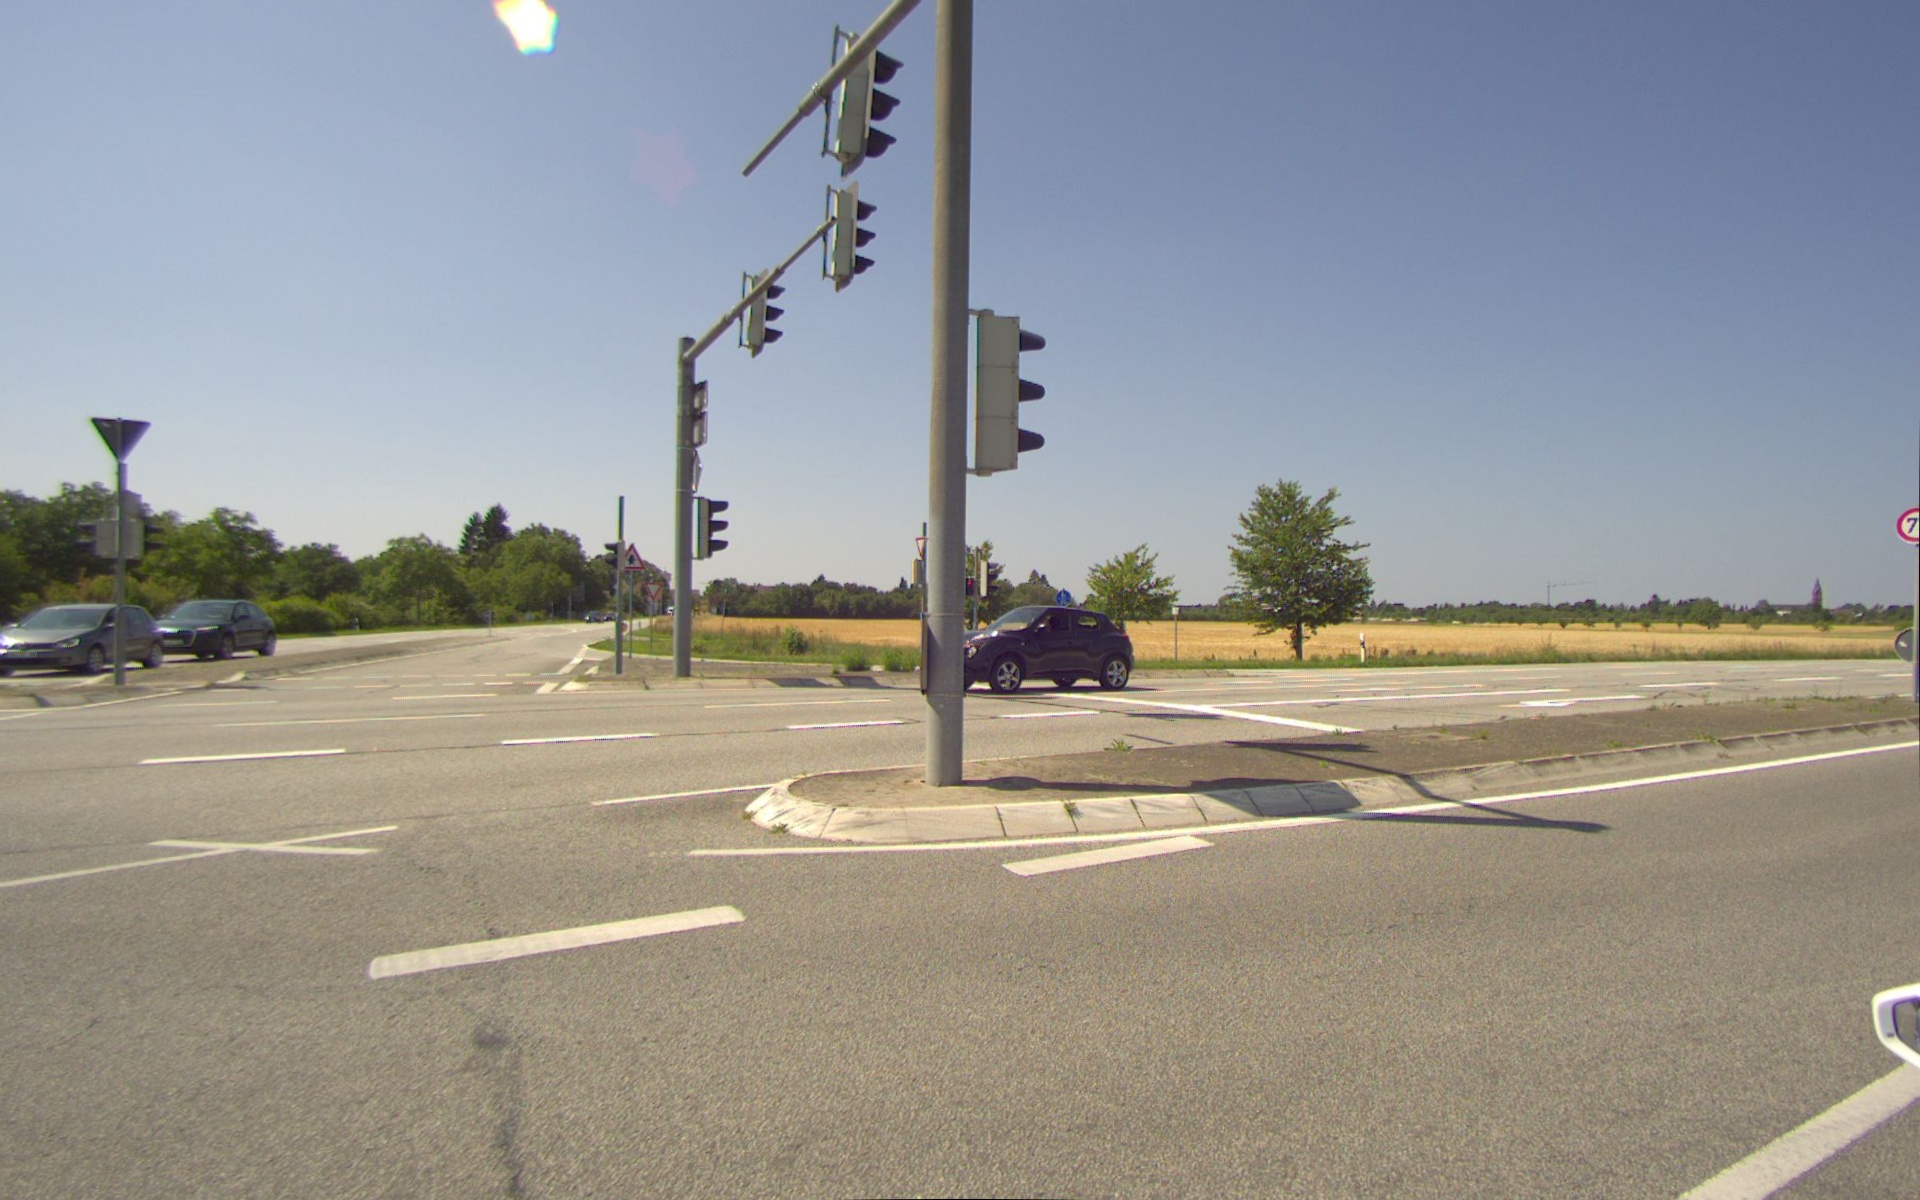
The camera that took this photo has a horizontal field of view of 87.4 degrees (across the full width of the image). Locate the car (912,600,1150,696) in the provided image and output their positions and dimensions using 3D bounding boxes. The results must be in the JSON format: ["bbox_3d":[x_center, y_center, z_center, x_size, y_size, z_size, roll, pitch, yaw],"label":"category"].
[{"bbox_3d":[1.381,0.885,18.959,4.259,1.621,1.820,2,-1,-33],"label":"car"}]

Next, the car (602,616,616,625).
[{"bbox_3d":[-52.241,3.071,149.630,1.474,1.405,3.766,1,-1,-12],"label":"car"}]

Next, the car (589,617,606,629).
[{"bbox_3d":[-43.535,2.808,120.703,1.474,1.405,3.766,1,-1,-12],"label":"car"}]

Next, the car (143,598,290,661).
[{"bbox_3d":[-20.533,0.816,27.982,1.606,1.615,4.359,1,-1,-12],"label":"car"}]

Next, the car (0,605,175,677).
[{"bbox_3d":[-19.013,0.826,21.859,1.607,1.405,3.869,0,0,-15],"label":"car"}]
